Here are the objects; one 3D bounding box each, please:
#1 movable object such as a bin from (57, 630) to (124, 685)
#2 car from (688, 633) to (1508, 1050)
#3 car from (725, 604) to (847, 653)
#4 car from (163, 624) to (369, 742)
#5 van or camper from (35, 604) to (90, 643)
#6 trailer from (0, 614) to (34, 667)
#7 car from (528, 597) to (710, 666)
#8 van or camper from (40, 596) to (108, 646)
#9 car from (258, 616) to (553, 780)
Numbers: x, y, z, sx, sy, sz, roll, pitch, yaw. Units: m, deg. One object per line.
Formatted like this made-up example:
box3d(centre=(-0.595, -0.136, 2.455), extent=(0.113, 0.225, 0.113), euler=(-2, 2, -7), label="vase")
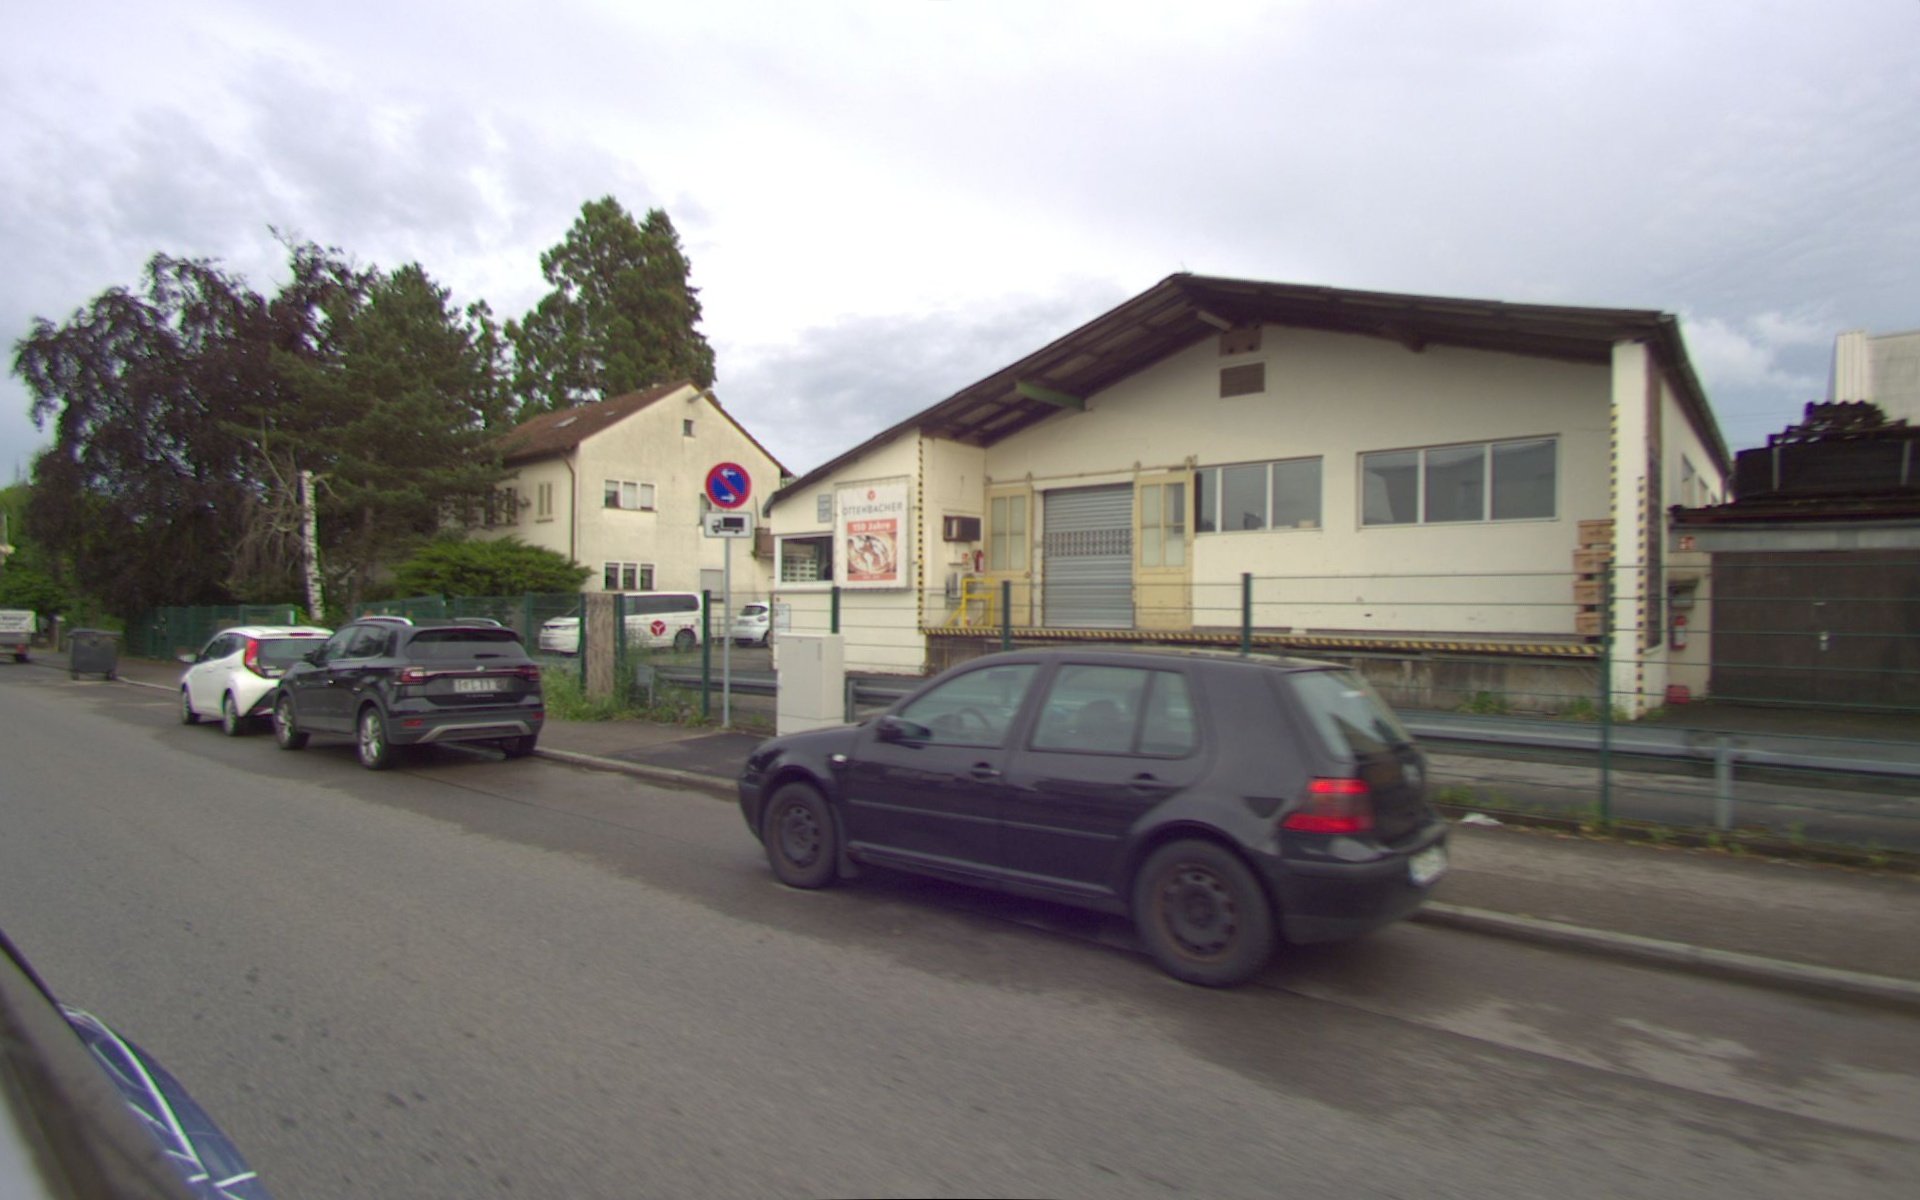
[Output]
box3d(centre=(-22.514, 1.462, 26.211), extent=(1.424, 1.320, 1.090), euler=(-1, 0, 40), label="movable object such as a bin")
box3d(centre=(0.490, 0.936, 5.650), extent=(4.312, 1.459, 1.645), euler=(-1, -3, 39), label="car")
box3d(centre=(-6.057, 0.952, 35.468), extent=(1.785, 1.563, 3.944), euler=(-1, 0, 42), label="car")
box3d(centre=(-10.317, 1.136, 14.967), extent=(3.658, 1.520, 1.599), euler=(-1, -2, 41), label="car")
box3d(centre=(-60.889, 1.571, 68.629), extent=(5.192, 2.509, 1.974), euler=(-1, 0, 39), label="van or camper")
box3d(centre=(-34.429, 1.433, 35.828), extent=(4.545, 1.779, 1.910), euler=(-1, -1, 41), label="trailer")
box3d(centre=(-10.314, 0.894, 30.934), extent=(2.000, 1.871, 4.945), euler=(-1, 0, 42), label="car")
box3d(centre=(-56.451, 1.317, 64.418), extent=(6.145, 3.058, 2.280), euler=(-1, 0, 39), label="van or camper")
box3d(centre=(-6.536, 1.012, 11.778), extent=(3.912, 1.596, 1.644), euler=(-1, -3, 40), label="car")
